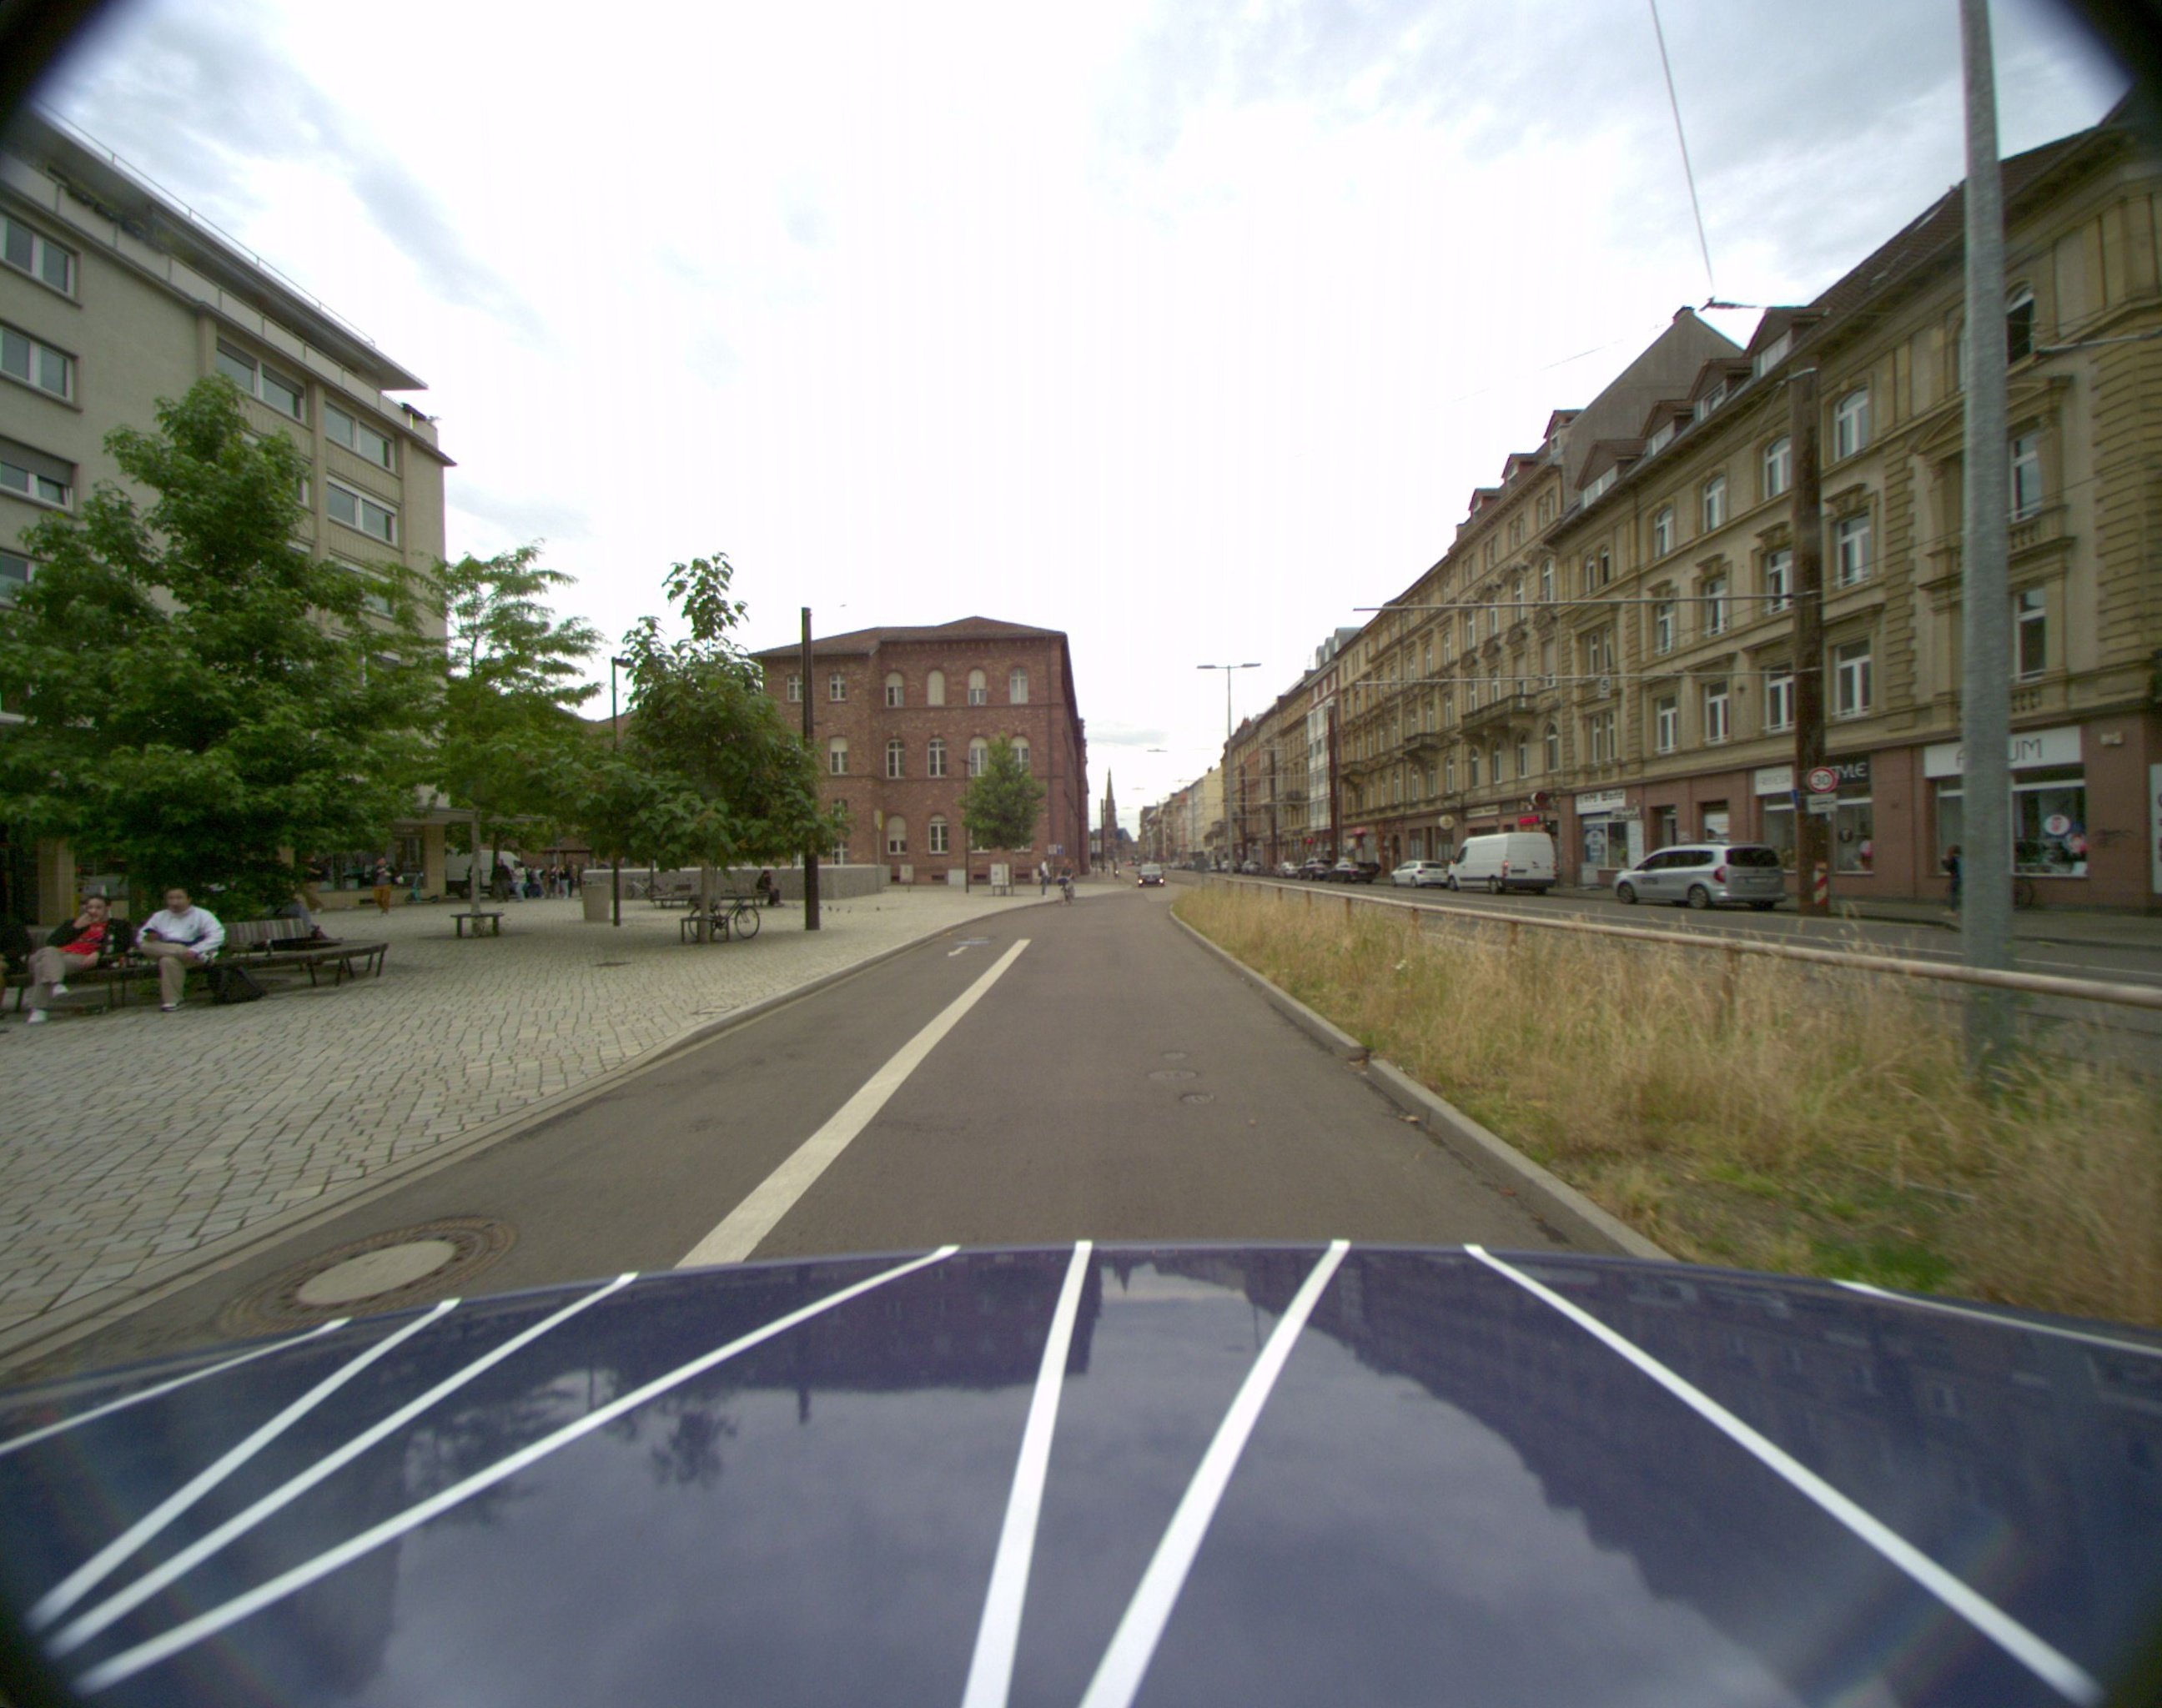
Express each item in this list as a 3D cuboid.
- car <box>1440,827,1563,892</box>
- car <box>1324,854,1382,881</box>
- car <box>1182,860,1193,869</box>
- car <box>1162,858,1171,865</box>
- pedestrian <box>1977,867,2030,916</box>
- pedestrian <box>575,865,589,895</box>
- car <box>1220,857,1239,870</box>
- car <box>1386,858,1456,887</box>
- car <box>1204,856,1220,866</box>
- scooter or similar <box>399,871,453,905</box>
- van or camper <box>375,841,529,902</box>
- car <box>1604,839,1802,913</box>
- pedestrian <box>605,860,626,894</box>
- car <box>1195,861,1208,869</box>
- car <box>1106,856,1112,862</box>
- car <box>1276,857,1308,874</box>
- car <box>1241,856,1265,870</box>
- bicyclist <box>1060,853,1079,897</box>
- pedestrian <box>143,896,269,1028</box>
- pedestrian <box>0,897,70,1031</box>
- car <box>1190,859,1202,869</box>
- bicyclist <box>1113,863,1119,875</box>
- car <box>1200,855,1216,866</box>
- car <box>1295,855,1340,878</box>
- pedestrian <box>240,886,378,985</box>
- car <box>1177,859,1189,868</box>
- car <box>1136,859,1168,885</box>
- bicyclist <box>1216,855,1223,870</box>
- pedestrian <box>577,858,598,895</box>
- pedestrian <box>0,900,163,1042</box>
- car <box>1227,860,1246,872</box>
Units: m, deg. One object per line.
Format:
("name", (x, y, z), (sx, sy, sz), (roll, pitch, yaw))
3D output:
("car", (17.570, 0.233, 32.166), (2.058, 2.472, 5.666), (1, 0, 0))
("car", (17.592, 0.851, 49.369), (1.924, 1.679, 5.052), (1, 0, 0))
("car", (20.800, 1.967, 148.178), (1.704, 1.662, 4.182), (-2, 0, 3))
("car", (21.346, 1.898, 190.084), (1.867, 1.553, 4.001), (0, 0, 2))
("pedestrian", (20.006, 0.809, 16.490), (0.554, 1.024, 0.453), (-2, 0, 10))
("pedestrian", (-27.636, 1.432, 42.091), (0.535, 1.612, 0.662), (-3, 0, -38))
("car", (19.496, 1.188, 99.676), (1.748, 1.662, 4.047), (0, -1, 1))
("car", (17.803, 0.934, 40.003), (1.775, 1.414, 4.165), (1, 0, 0))
("car", (19.678, 1.018, 113.944), (1.748, 1.456, 4.047), (0, -1, 1))
("scooter or similar", (-24.391, 1.266, 28.317), (0.500, 1.197, 1.439), (1, 0, 26))
("van or camper", (-30.946, 0.807, 37.786), (1.998, 2.703, 6.561), (-2, 0, 2))
("car", (17.333, 0.568, 21.525), (1.907, 1.853, 4.520), (0, 0, 0))
("pedestrian", (-24.338, 1.189, 39.721), (0.664, 1.747, 0.631), (-2, 0, -8))
("car", (21.147, 1.935, 133.722), (1.651, 1.372, 3.436), (0, -1, -2))
("car", (8.570, 1.563, 231.234), (1.835, 1.652, 4.001), (-2, 0, 2))
("car", (18.398, 1.000, 66.445), (1.748, 1.479, 3.921), (0, -1, 1))
("car", (19.143, 1.032, 84.555), (1.748, 1.524, 4.226), (0, -1, 1))
("bicyclist", (-0.455, 0.821, 29.620), (0.570, 1.674, 0.794), (-2, 0, 10))
("pedestrian", (-9.885, 1.187, 8.613), (0.630, 1.358, 0.687), (-2, 0, -17))
("pedestrian", (-11.526, 1.162, 7.767), (0.543, 1.358, 1.282), (-2, 0, 19))
("car", (20.929, 1.781, 138.243), (1.706, 1.746, 3.921), (0, 0, 3))
("bicyclist", (3.453, 1.465, 74.745), (0.587, 1.164, 0.662), (-1, 0, 1))
("car", (19.810, 1.033, 118.757), (1.828, 1.512, 4.546), (0, -1, 2))
("car", (18.101, 0.928, 58.403), (1.818, 1.679, 5.031), (0, -1, -1))
("pedestrian", (-11.907, 1.220, 11.778), (0.629, 1.358, 1.409), (-2, 0, 0))
("car", (21.424, 2.000, 159.417), (1.928, 1.722, 3.827), (-2, 0, 1))
("car", (4.613, 1.142, 49.828), (1.747, 1.538, 3.650), (-2, 0, 0))
("bicyclist", (17.134, 1.049, 94.027), (0.646, 1.872, 1.028), (-2, 0, 3))
("pedestrian", (-25.424, 1.165, 39.155), (0.663, 1.878, 0.534), (-2, 0, -2))
("pedestrian", (-10.670, 1.205, 8.098), (0.628, 1.358, 0.920), (-2, 0, 19))
("car", (19.328, 1.453, 94.580), (1.748, 1.479, 3.921), (0, -1, 2))
